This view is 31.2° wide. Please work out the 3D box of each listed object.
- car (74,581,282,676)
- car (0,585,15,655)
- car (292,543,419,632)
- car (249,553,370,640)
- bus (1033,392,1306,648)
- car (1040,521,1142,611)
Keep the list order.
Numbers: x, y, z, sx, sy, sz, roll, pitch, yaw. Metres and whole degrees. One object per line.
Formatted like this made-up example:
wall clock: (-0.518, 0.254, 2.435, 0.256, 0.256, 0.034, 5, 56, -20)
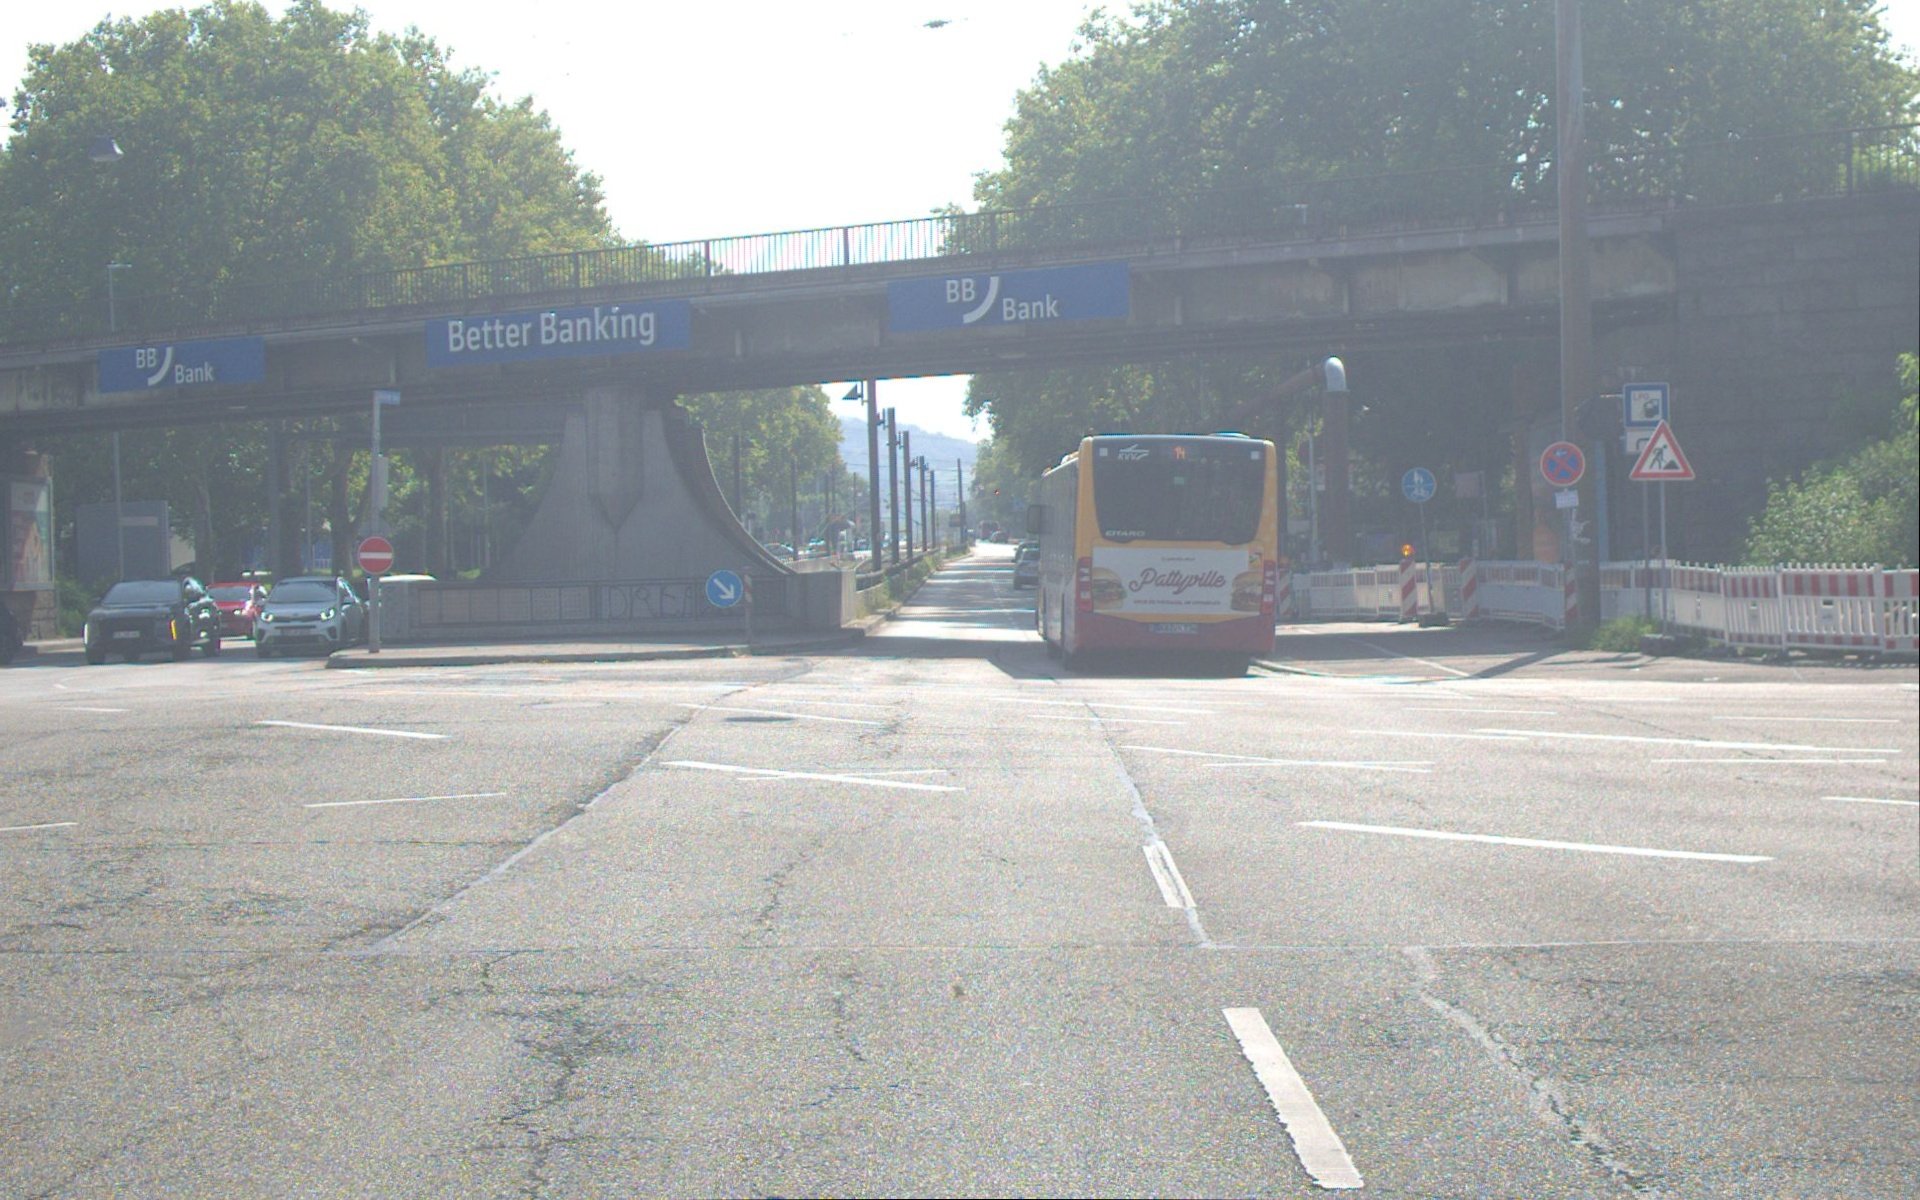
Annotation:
car: (-14.930, 0.515, 65.871, 1.903, 1.611, 4.471, -3, 1, 16)
car: (-21.271, 0.389, 69.155, 1.785, 1.423, 3.990, 2, 1, 43)
car: (-12.216, -0.282, 69.712, 1.993, 1.567, 4.349, -1, 3, -3)
car: (-12.254, -0.082, 64.955, 1.721, 1.533, 3.696, -2, 1, -3)
bus: (2.714, -1.074, 48.606, 3.134, 3.103, 12.290, 1, 1, 0)
car: (3.000, -0.796, 79.630, 1.993, 2.007, 4.001, 1, 1, -2)
